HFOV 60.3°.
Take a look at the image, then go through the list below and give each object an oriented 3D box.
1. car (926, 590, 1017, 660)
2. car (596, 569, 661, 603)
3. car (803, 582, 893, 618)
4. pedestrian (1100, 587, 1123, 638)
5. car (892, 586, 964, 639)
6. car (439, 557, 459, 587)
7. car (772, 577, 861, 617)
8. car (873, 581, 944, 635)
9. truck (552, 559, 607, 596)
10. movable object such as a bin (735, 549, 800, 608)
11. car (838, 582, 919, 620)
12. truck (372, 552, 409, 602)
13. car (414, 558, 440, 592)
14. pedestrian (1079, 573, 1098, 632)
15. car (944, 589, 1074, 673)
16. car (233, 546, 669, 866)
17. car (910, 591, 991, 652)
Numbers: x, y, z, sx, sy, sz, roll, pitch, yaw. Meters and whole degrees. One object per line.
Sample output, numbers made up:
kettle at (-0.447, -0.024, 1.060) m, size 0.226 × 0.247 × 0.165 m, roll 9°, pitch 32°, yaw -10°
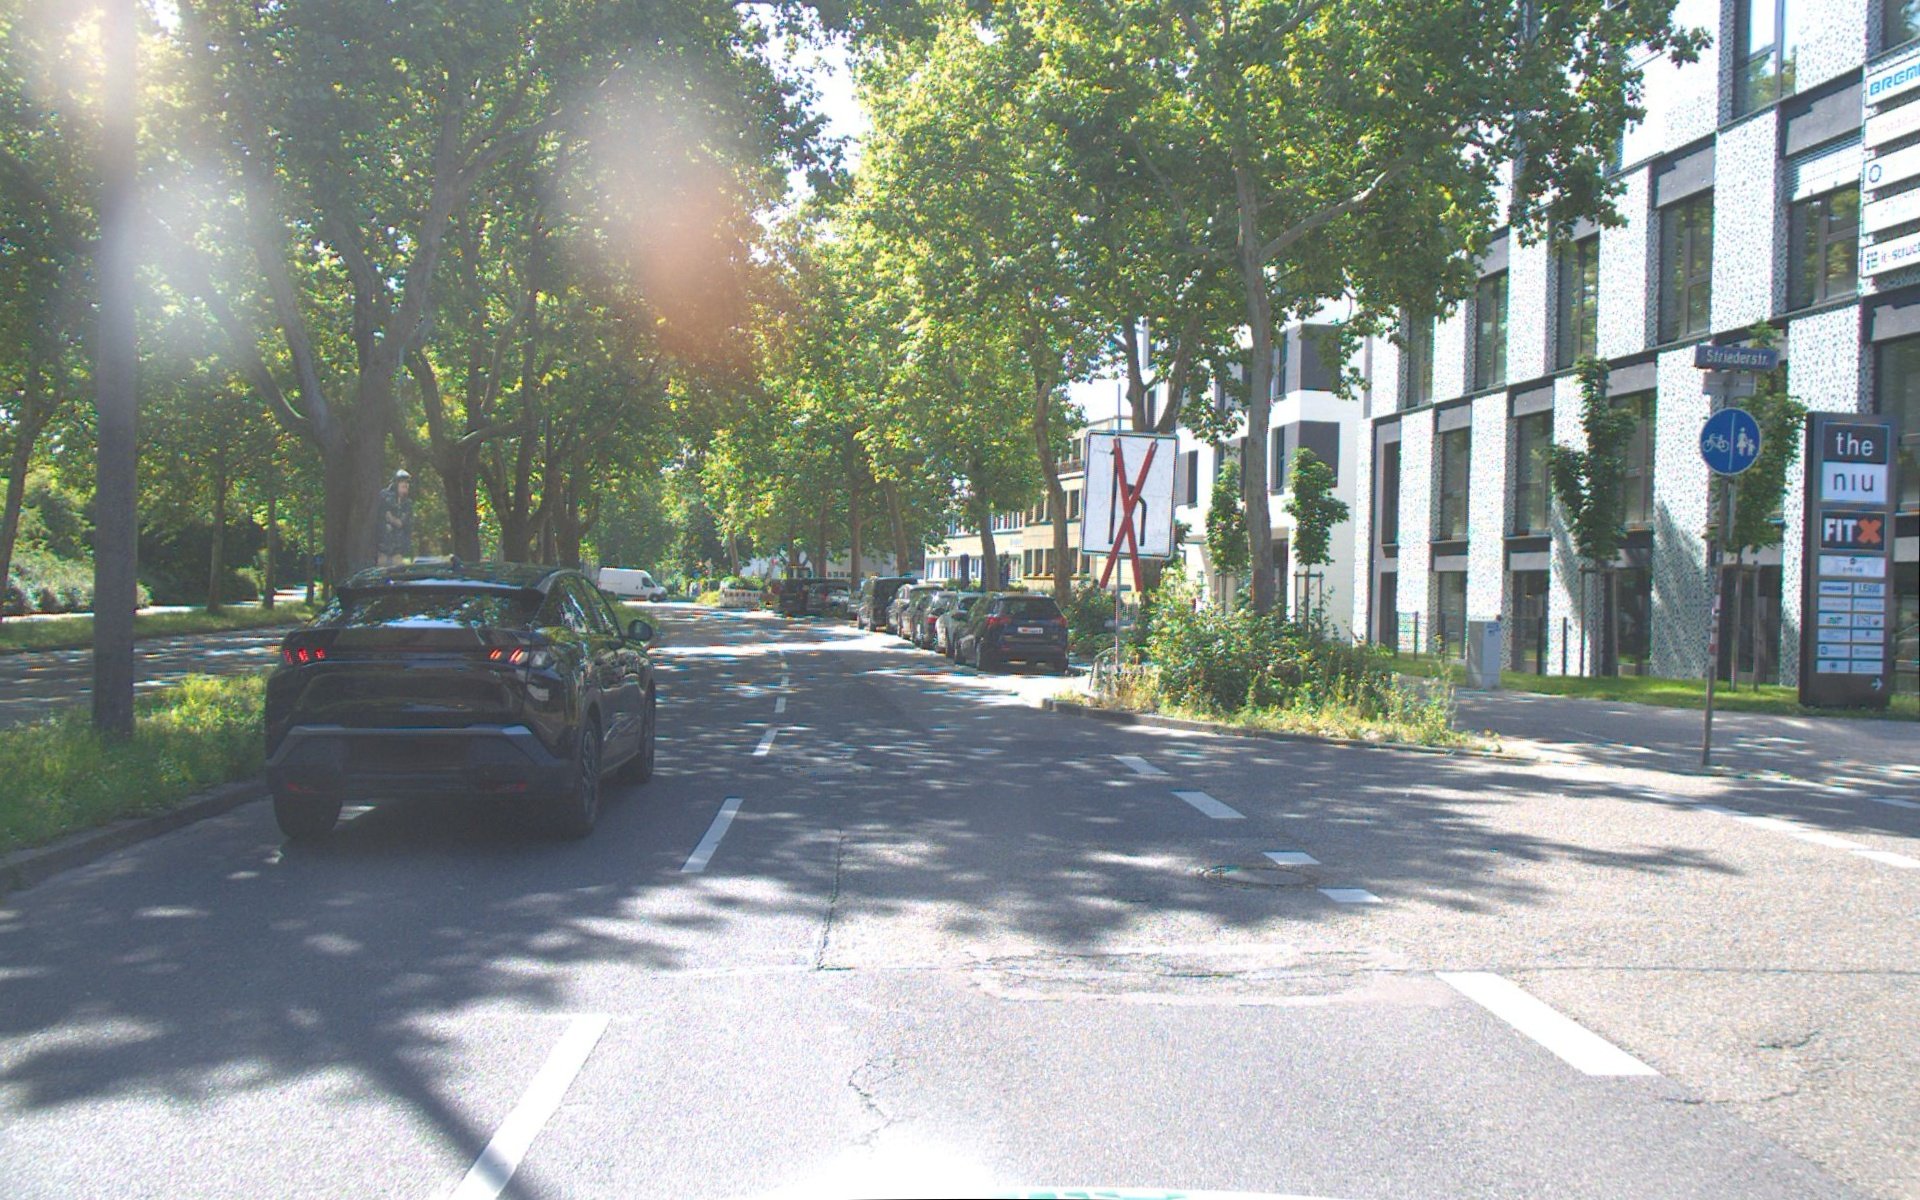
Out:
car at (0.225, 0.541, 38.714) m, size 1.674 × 1.513 × 4.096 m, roll 1°, pitch 1°, yaw -6°
car at (-25.988, -1.082, 129.495) m, size 4.898 × 2.587 × 1.992 m, roll 1°, pitch 0°, yaw -15°
car at (-5.441, 0.005, 80.656) m, size 4.051 × 1.662 × 1.697 m, roll 1°, pitch 0°, yaw -27°
pedestrian at (4.796, 0.399, 52.377) m, size 0.601 × 1.609 × 0.569 m, roll 1°, pitch 0°, yaw -7°
car at (-1.026, 0.341, 50.562) m, size 1.675 × 1.513 × 4.476 m, roll 1°, pitch 1°, yaw -8°
car at (-59.812, -3.252, 193.611) m, size 2.024 × 3.494 × 6.741 m, roll 1°, pitch 0°, yaw -15°
car at (-7.107, -0.142, 82.207) m, size 4.053 × 1.912 × 1.768 m, roll 1°, pitch 0°, yaw -29°
car at (-1.773, 0.230, 55.597) m, size 1.676 × 1.698 × 4.522 m, roll 1°, pitch 1°, yaw -11°
truck at (-39.447, -2.283, 171.704) m, size 5.430 × 3.742 × 1.994 m, roll 1°, pitch 0°, yaw -13°
movable object such as a bin at (-10.959, -1.212, 93.980) m, size 2.310 × 3.297 × 3.387 m, roll 1°, pitch 0°, yaw -36°
car at (-3.787, 0.039, 76.486) m, size 3.492 × 1.668 × 1.653 m, roll 1°, pitch 0°, yaw -14°
truck at (-42.824, -1.774, 124.416) m, size 2.413 × 3.509 × 7.061 m, roll 3°, pitch 1°, yaw -19°
car at (-58.749, -2.756, 182.466) m, size 2.411 × 3.509 × 7.067 m, roll 3°, pitch 1°, yaw -17°
pedestrian at (4.052, 0.083, 52.135) m, size 0.467 × 1.839 × 0.636 m, roll 1°, pitch 0°, yaw -7°
car at (0.896, 0.558, 32.897) m, size 1.676 × 1.513 × 4.708 m, roll 0°, pitch 1°, yaw -10°
car at (-3.147, 0.549, 11.211) m, size 1.835 × 1.726 × 4.432 m, roll 0°, pitch 0°, yaw -4°
car at (-0.296, 0.516, 43.561) m, size 1.674 × 1.480 × 4.650 m, roll 1°, pitch 1°, yaw -6°
